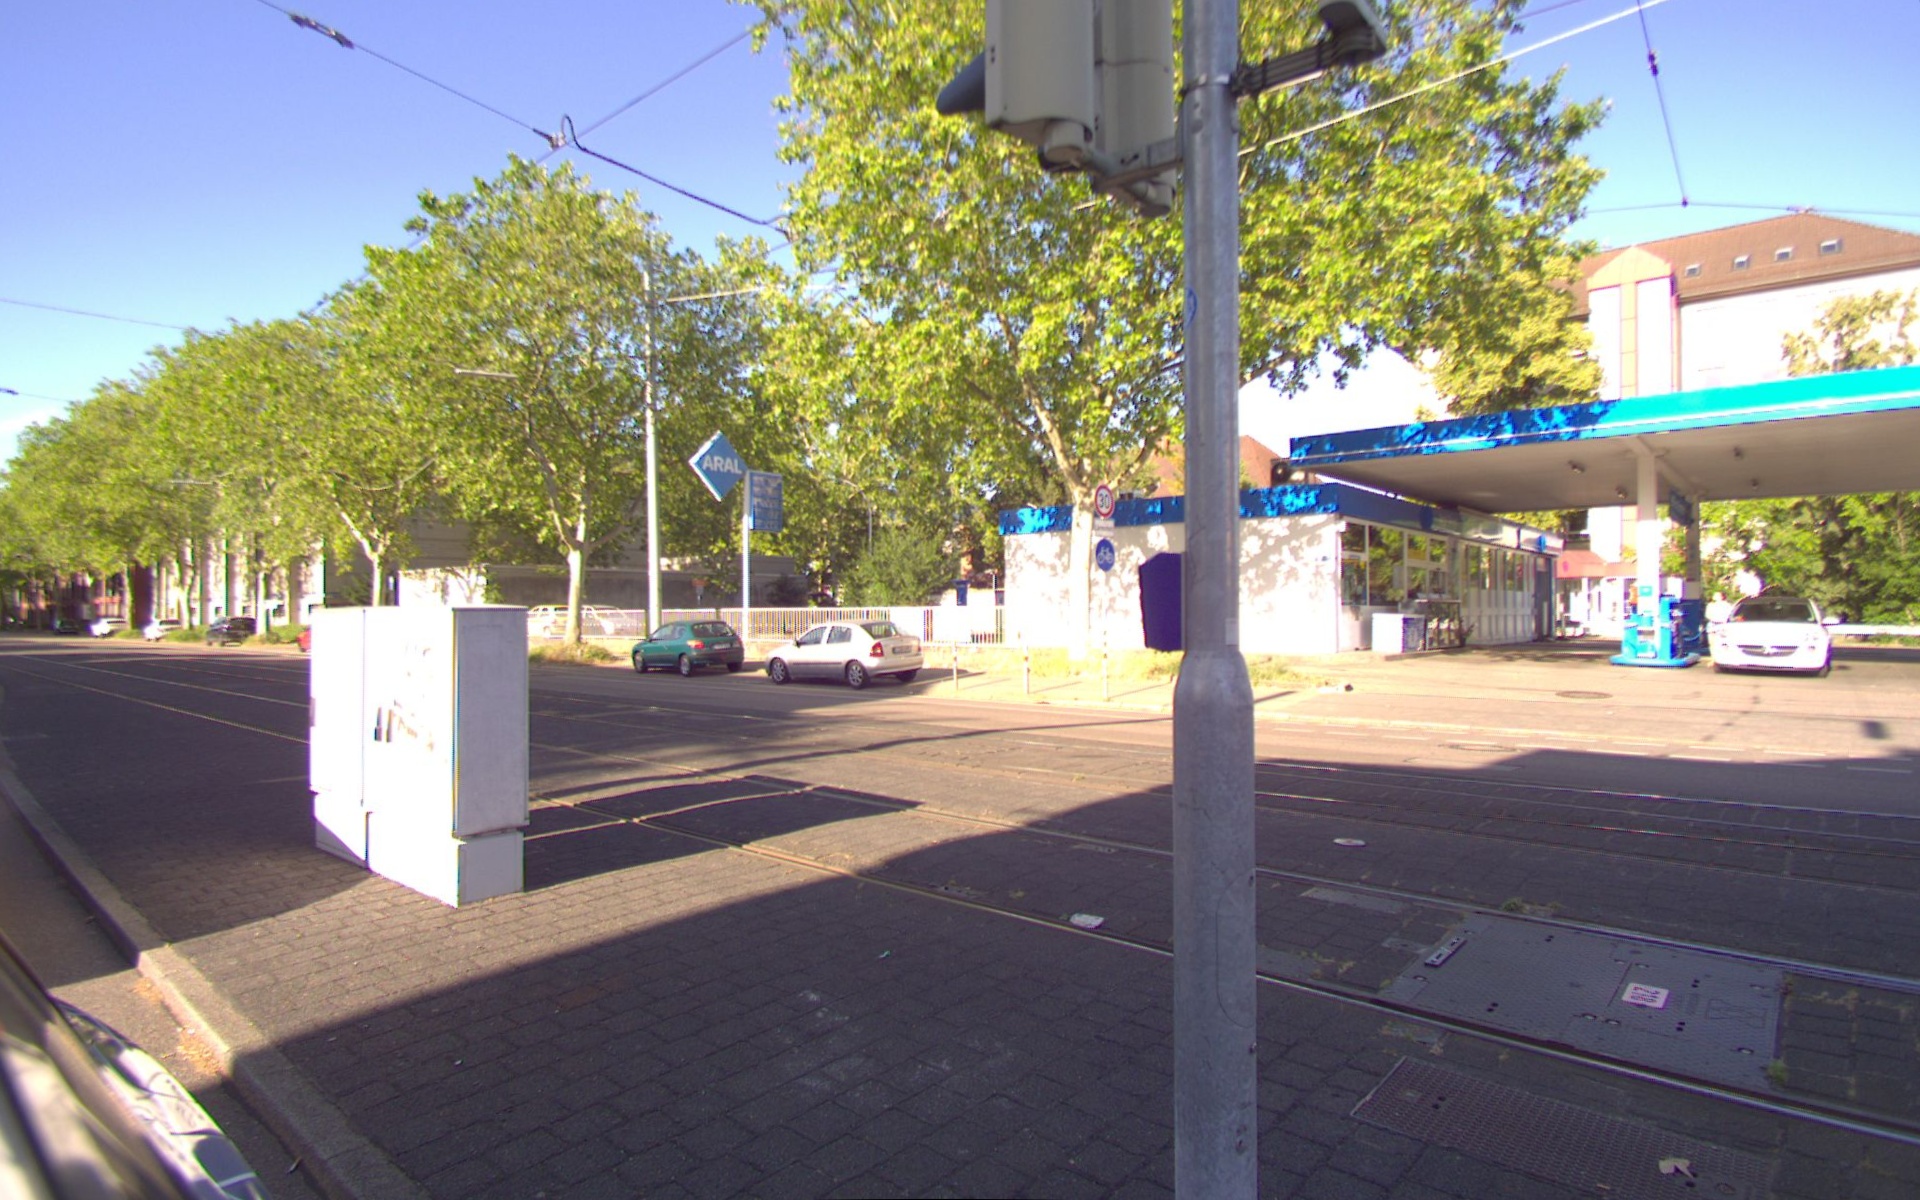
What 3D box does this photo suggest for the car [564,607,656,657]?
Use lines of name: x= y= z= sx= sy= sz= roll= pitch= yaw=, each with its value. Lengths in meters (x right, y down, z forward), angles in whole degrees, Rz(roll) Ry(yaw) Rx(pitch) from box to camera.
car: x=-15.150 y=1.361 z=43.697 sx=3.996 sy=2.029 sz=1.974 roll=-1 pitch=-1 yaw=39

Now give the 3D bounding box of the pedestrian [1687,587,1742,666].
pedestrian: x=16.123 y=0.555 z=21.634 sx=0.637 sy=1.642 sz=0.814 roll=1 pitch=-2 yaw=-42

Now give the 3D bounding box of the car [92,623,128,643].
car: x=-66.929 y=2.571 z=79.650 sx=3.858 sy=1.495 sz=1.735 roll=-1 pitch=0 yaw=43

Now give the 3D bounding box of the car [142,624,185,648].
car: x=-53.642 y=2.392 z=68.130 sx=3.858 sy=1.495 sz=1.735 roll=-1 pitch=0 yaw=43

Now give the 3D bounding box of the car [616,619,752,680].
car: x=-7.438 y=1.271 z=27.082 sx=3.858 sy=1.408 sz=1.722 roll=-1 pitch=1 yaw=43

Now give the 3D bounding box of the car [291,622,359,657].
car: x=-28.916 y=1.769 z=46.053 sx=3.858 sy=1.440 sz=1.695 roll=-1 pitch=0 yaw=43

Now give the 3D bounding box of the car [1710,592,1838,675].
car: x=15.936 y=0.614 z=19.788 sx=1.793 sy=1.453 sz=3.946 roll=-1 pitch=-1 yaw=40

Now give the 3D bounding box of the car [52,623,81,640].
car: x=-84.875 y=3.002 z=96.125 sx=3.858 sy=1.495 sz=1.735 roll=-1 pitch=0 yaw=43

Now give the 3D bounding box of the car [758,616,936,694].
car: x=-2.578 y=1.164 z=22.602 sx=3.857 sy=1.497 sz=1.823 roll=-1 pitch=1 yaw=42

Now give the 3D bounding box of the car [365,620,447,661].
car: x=-21.989 y=1.583 z=40.098 sx=3.858 sy=1.468 sz=1.735 roll=-1 pitch=0 yaw=43

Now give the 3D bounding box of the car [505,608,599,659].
car: x=-17.049 y=1.390 z=42.269 sx=3.996 sy=2.029 sz=1.974 roll=-1 pitch=-1 yaw=39

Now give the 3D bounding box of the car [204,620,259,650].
car: x=-40.679 y=1.949 z=56.493 sx=3.858 sy=1.557 sz=1.735 roll=-1 pitch=0 yaw=43
